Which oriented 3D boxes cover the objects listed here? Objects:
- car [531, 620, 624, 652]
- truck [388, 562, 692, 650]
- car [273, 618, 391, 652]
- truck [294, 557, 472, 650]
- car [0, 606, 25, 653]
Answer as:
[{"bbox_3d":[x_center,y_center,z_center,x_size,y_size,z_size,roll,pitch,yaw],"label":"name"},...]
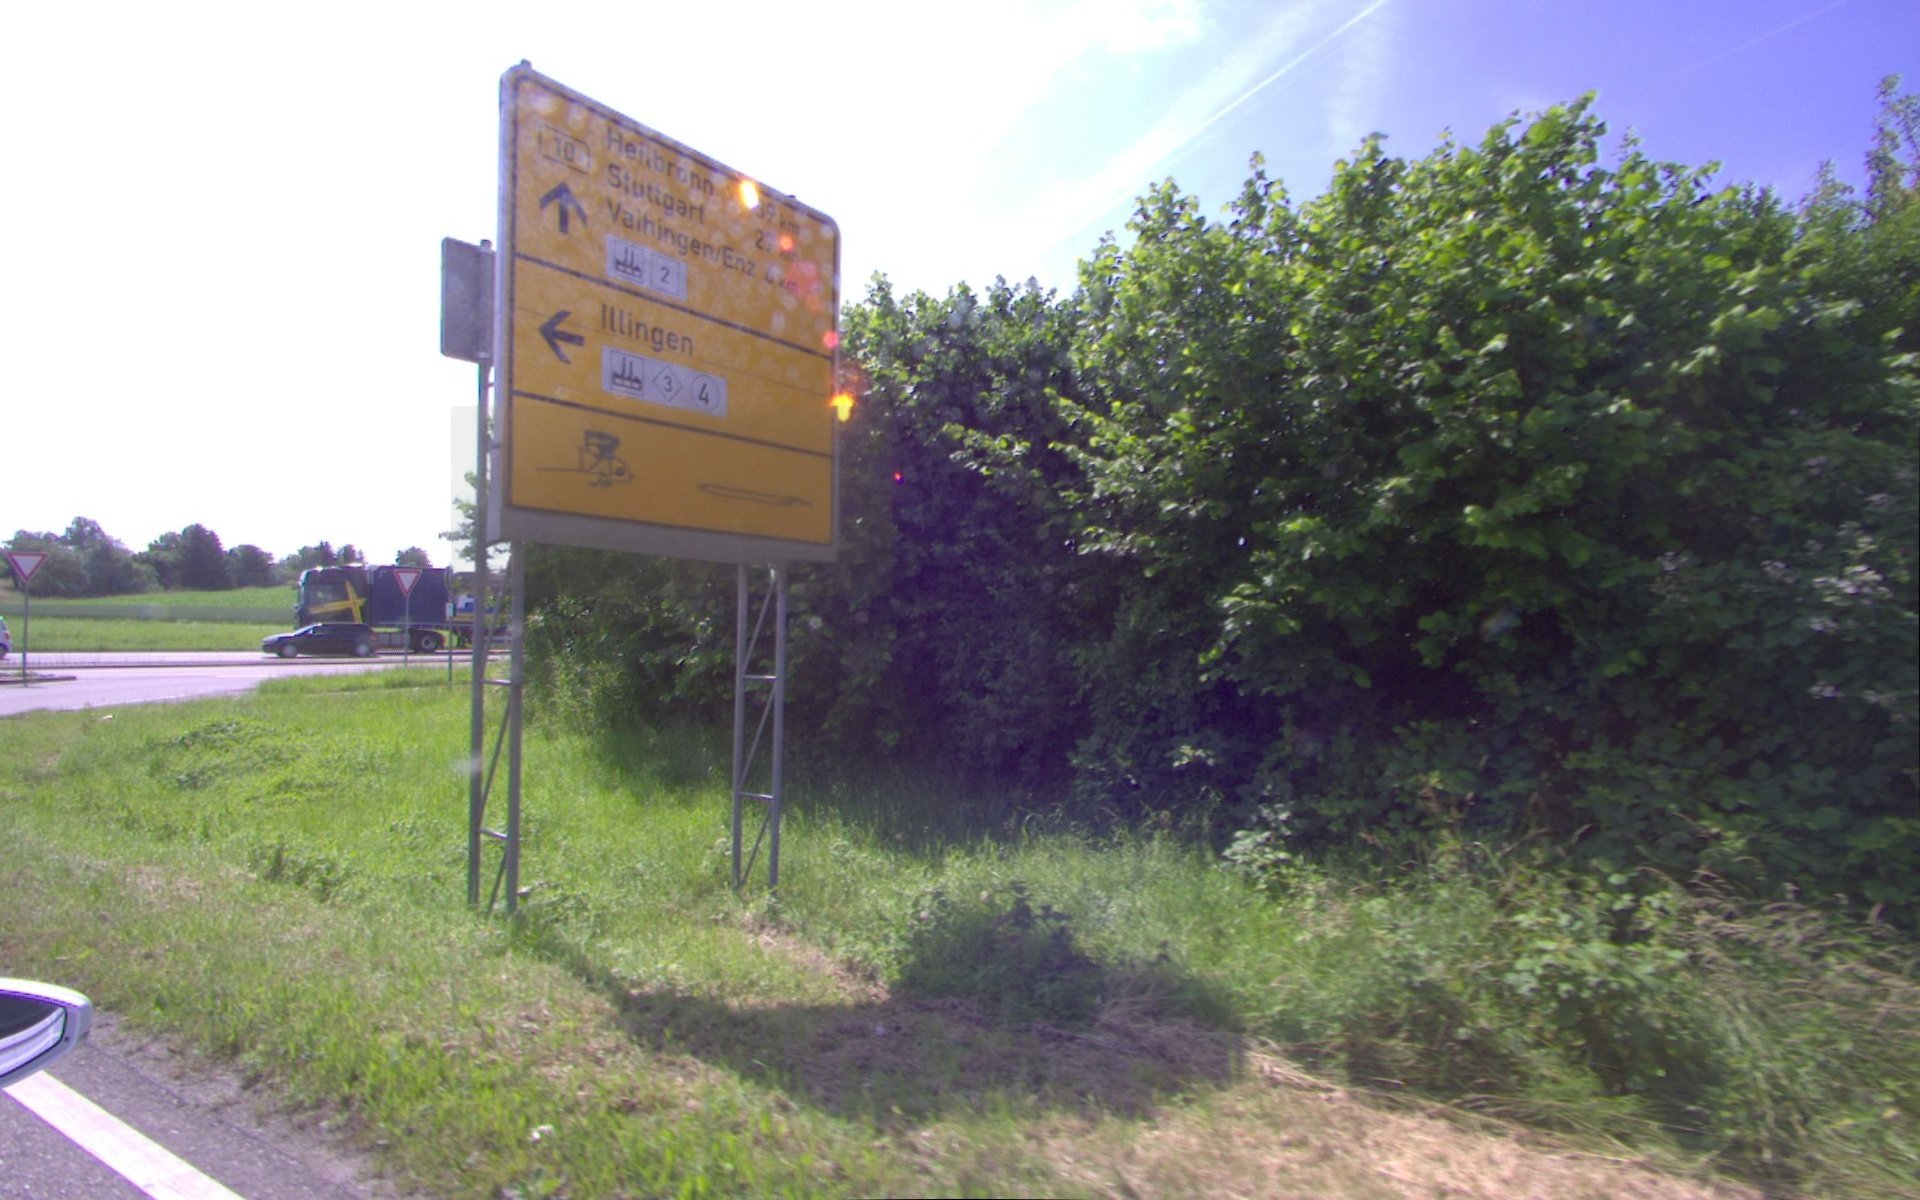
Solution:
[{"bbox_3d":[-18.393,1.734,48.247,3.956,1.510,1.528,1,-2,-34],"label":"car"},{"bbox_3d":[-21.217,0.496,51.636,14.151,4.031,3.006,2,-1,-36],"label":"truck"},{"bbox_3d":[-26.297,1.474,41.984,3.958,1.326,1.751,2,-3,-42],"label":"car"},{"bbox_3d":[-27.111,0.258,47.182,6.874,4.046,3.003,2,-1,-38],"label":"truck"},{"bbox_3d":[-35.378,1.031,34.878,1.737,1.654,3.819,-1,-2,33],"label":"car"}]
